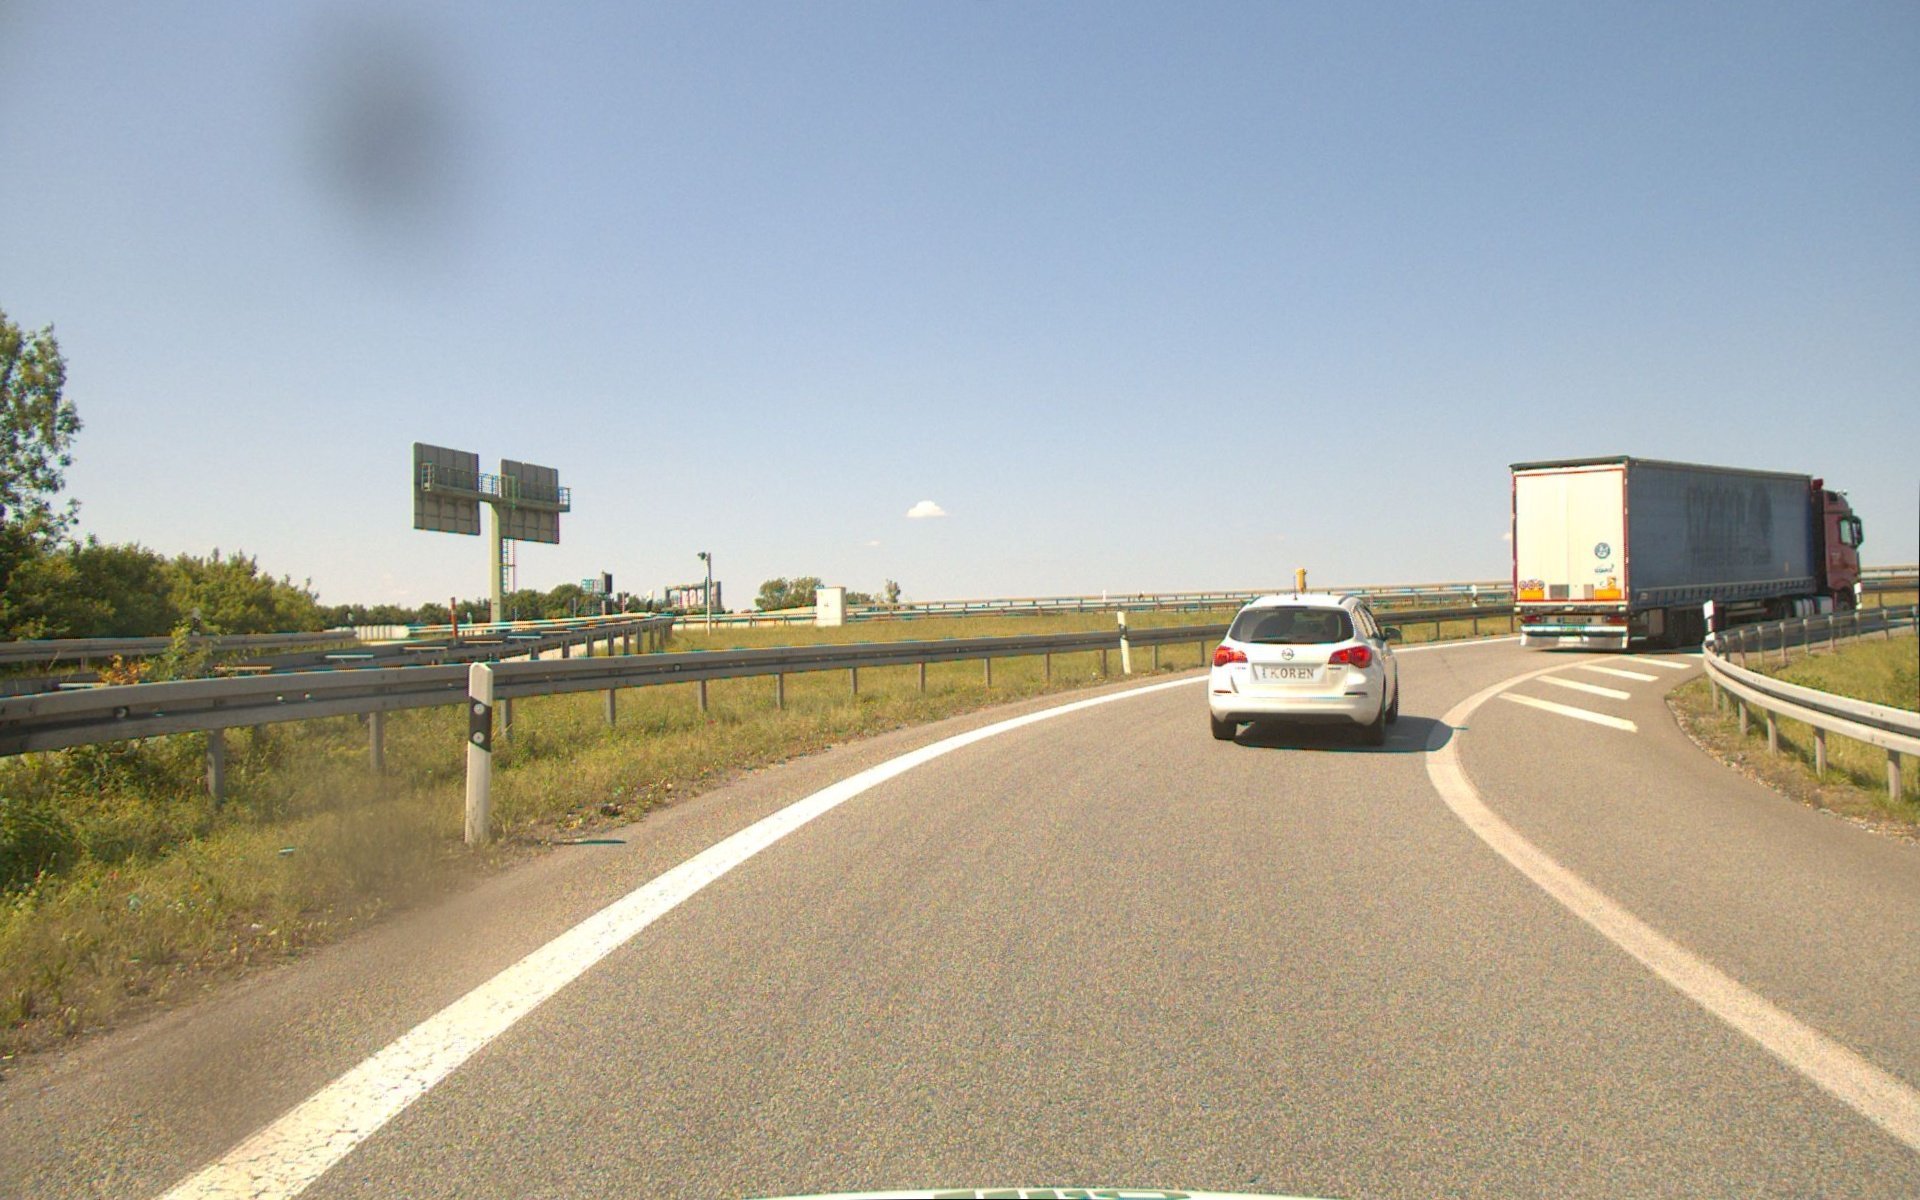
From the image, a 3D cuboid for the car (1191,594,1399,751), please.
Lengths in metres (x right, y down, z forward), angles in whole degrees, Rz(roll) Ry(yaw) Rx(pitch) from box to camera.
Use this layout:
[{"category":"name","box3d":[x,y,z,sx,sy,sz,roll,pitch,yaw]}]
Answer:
[{"category":"car","box3d":[3.774,0.701,18.058,1.815,1.468,4.375,-2,0,16]}]

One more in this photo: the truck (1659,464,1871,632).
[{"category":"truck","box3d":[21.965,-1.361,44.962,6.869,4.217,2.876,-1,0,-43]}]

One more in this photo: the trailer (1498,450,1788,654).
[{"category":"trailer","box3d":[16.532,-1.086,39.344,2.869,4.217,11.192,-1,0,41]}]
